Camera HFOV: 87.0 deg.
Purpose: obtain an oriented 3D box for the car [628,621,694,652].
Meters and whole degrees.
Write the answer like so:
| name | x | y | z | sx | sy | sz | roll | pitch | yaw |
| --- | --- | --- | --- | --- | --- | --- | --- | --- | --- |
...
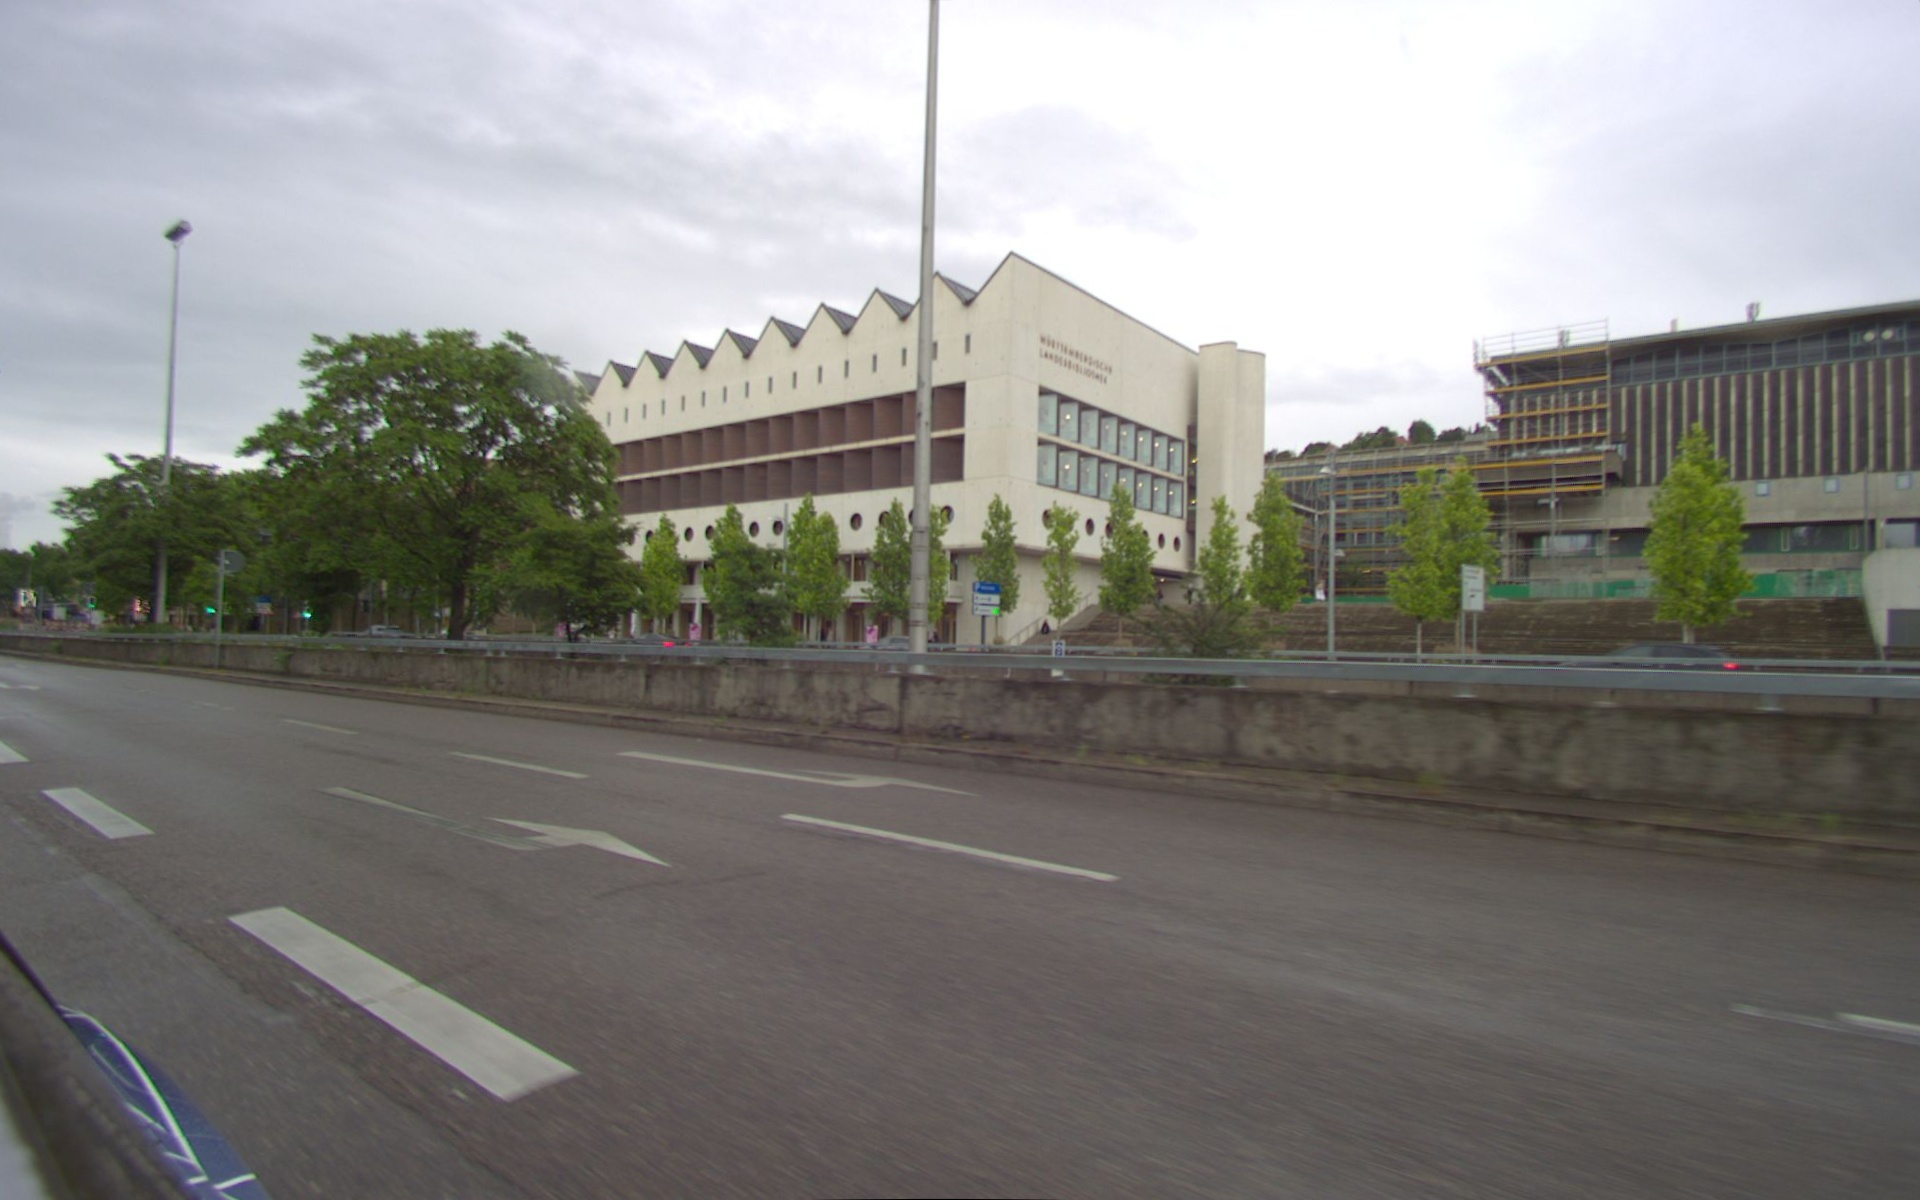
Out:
| name | x | y | z | sx | sy | sz | roll | pitch | yaw |
| --- | --- | --- | --- | --- | --- | --- | --- | --- | --- |
| car | -16.038 | 1.914 | 54.245 | 3.470 | 1.567 | 1.678 | 0 | -1 | 37 |

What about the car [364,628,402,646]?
| name | x | y | z | sx | sy | sz | roll | pitch | yaw |
| --- | --- | --- | --- | --- | --- | --- | --- | --- | --- |
| car | -41.428 | 2.642 | 72.656 | 2.816 | 1.287 | 1.282 | 0 | -1 | 35 |

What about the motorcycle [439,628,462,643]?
| name | x | y | z | sx | sy | sz | roll | pitch | yaw |
| --- | --- | --- | --- | --- | --- | --- | --- | --- | --- |
| motorcycle | -43.121 | 2.984 | 85.654 | 0.603 | 1.191 | 1.800 | 0 | -1 | 26 |

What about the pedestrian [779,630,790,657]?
| name | x | y | z | sx | sy | sz | roll | pitch | yaw |
| --- | --- | --- | --- | --- | --- | --- | --- | --- | --- |
| pedestrian | -12.373 | 3.064 | 71.558 | 0.729 | 1.873 | 0.703 | 1 | -1 | -8 |

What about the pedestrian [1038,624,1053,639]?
| name | x | y | z | sx | sy | sz | roll | pitch | yaw |
| --- | --- | --- | --- | --- | --- | --- | --- | --- | --- |
| pedestrian | 5.333 | 1.954 | 63.072 | 0.628 | 0.894 | 0.798 | 0 | -1 | 41 |

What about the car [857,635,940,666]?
| name | x | y | z | sx | sy | sz | roll | pitch | yaw |
| --- | --- | --- | --- | --- | --- | --- | --- | --- | --- |
| car | -2.712 | 2.167 | 44.013 | 3.540 | 1.236 | 1.549 | 0 | -1 | 41 |

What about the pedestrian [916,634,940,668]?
| name | x | y | z | sx | sy | sz | roll | pitch | yaw |
| --- | --- | --- | --- | --- | --- | --- | --- | --- | --- |
| pedestrian | -1.767 | 2.833 | 56.419 | 0.828 | 1.880 | 1.075 | 0 | -1 | 36 |

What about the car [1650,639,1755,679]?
| name | x | y | z | sx | sy | sz | roll | pitch | yaw |
| --- | --- | --- | --- | --- | --- | --- | --- | --- | --- |
| car | 19.664 | 1.541 | 26.831 | 2.195 | 0.984 | 0.962 | -2 | -2 | 38 |

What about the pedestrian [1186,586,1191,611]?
| name | x | y | z | sx | sy | sz | roll | pitch | yaw |
| --- | --- | --- | --- | --- | --- | --- | --- | --- | --- |
| pedestrian | 14.809 | -0.082 | 65.547 | 0.313 | 1.585 | 0.310 | 0 | -1 | 21 |

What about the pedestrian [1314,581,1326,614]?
| name | x | y | z | sx | sy | sz | roll | pitch | yaw |
| --- | --- | --- | --- | --- | --- | --- | --- | --- | --- |
| pedestrian | 21.875 | -0.142 | 61.482 | 0.600 | 2.029 | 0.637 | 0 | -1 | 14 |
